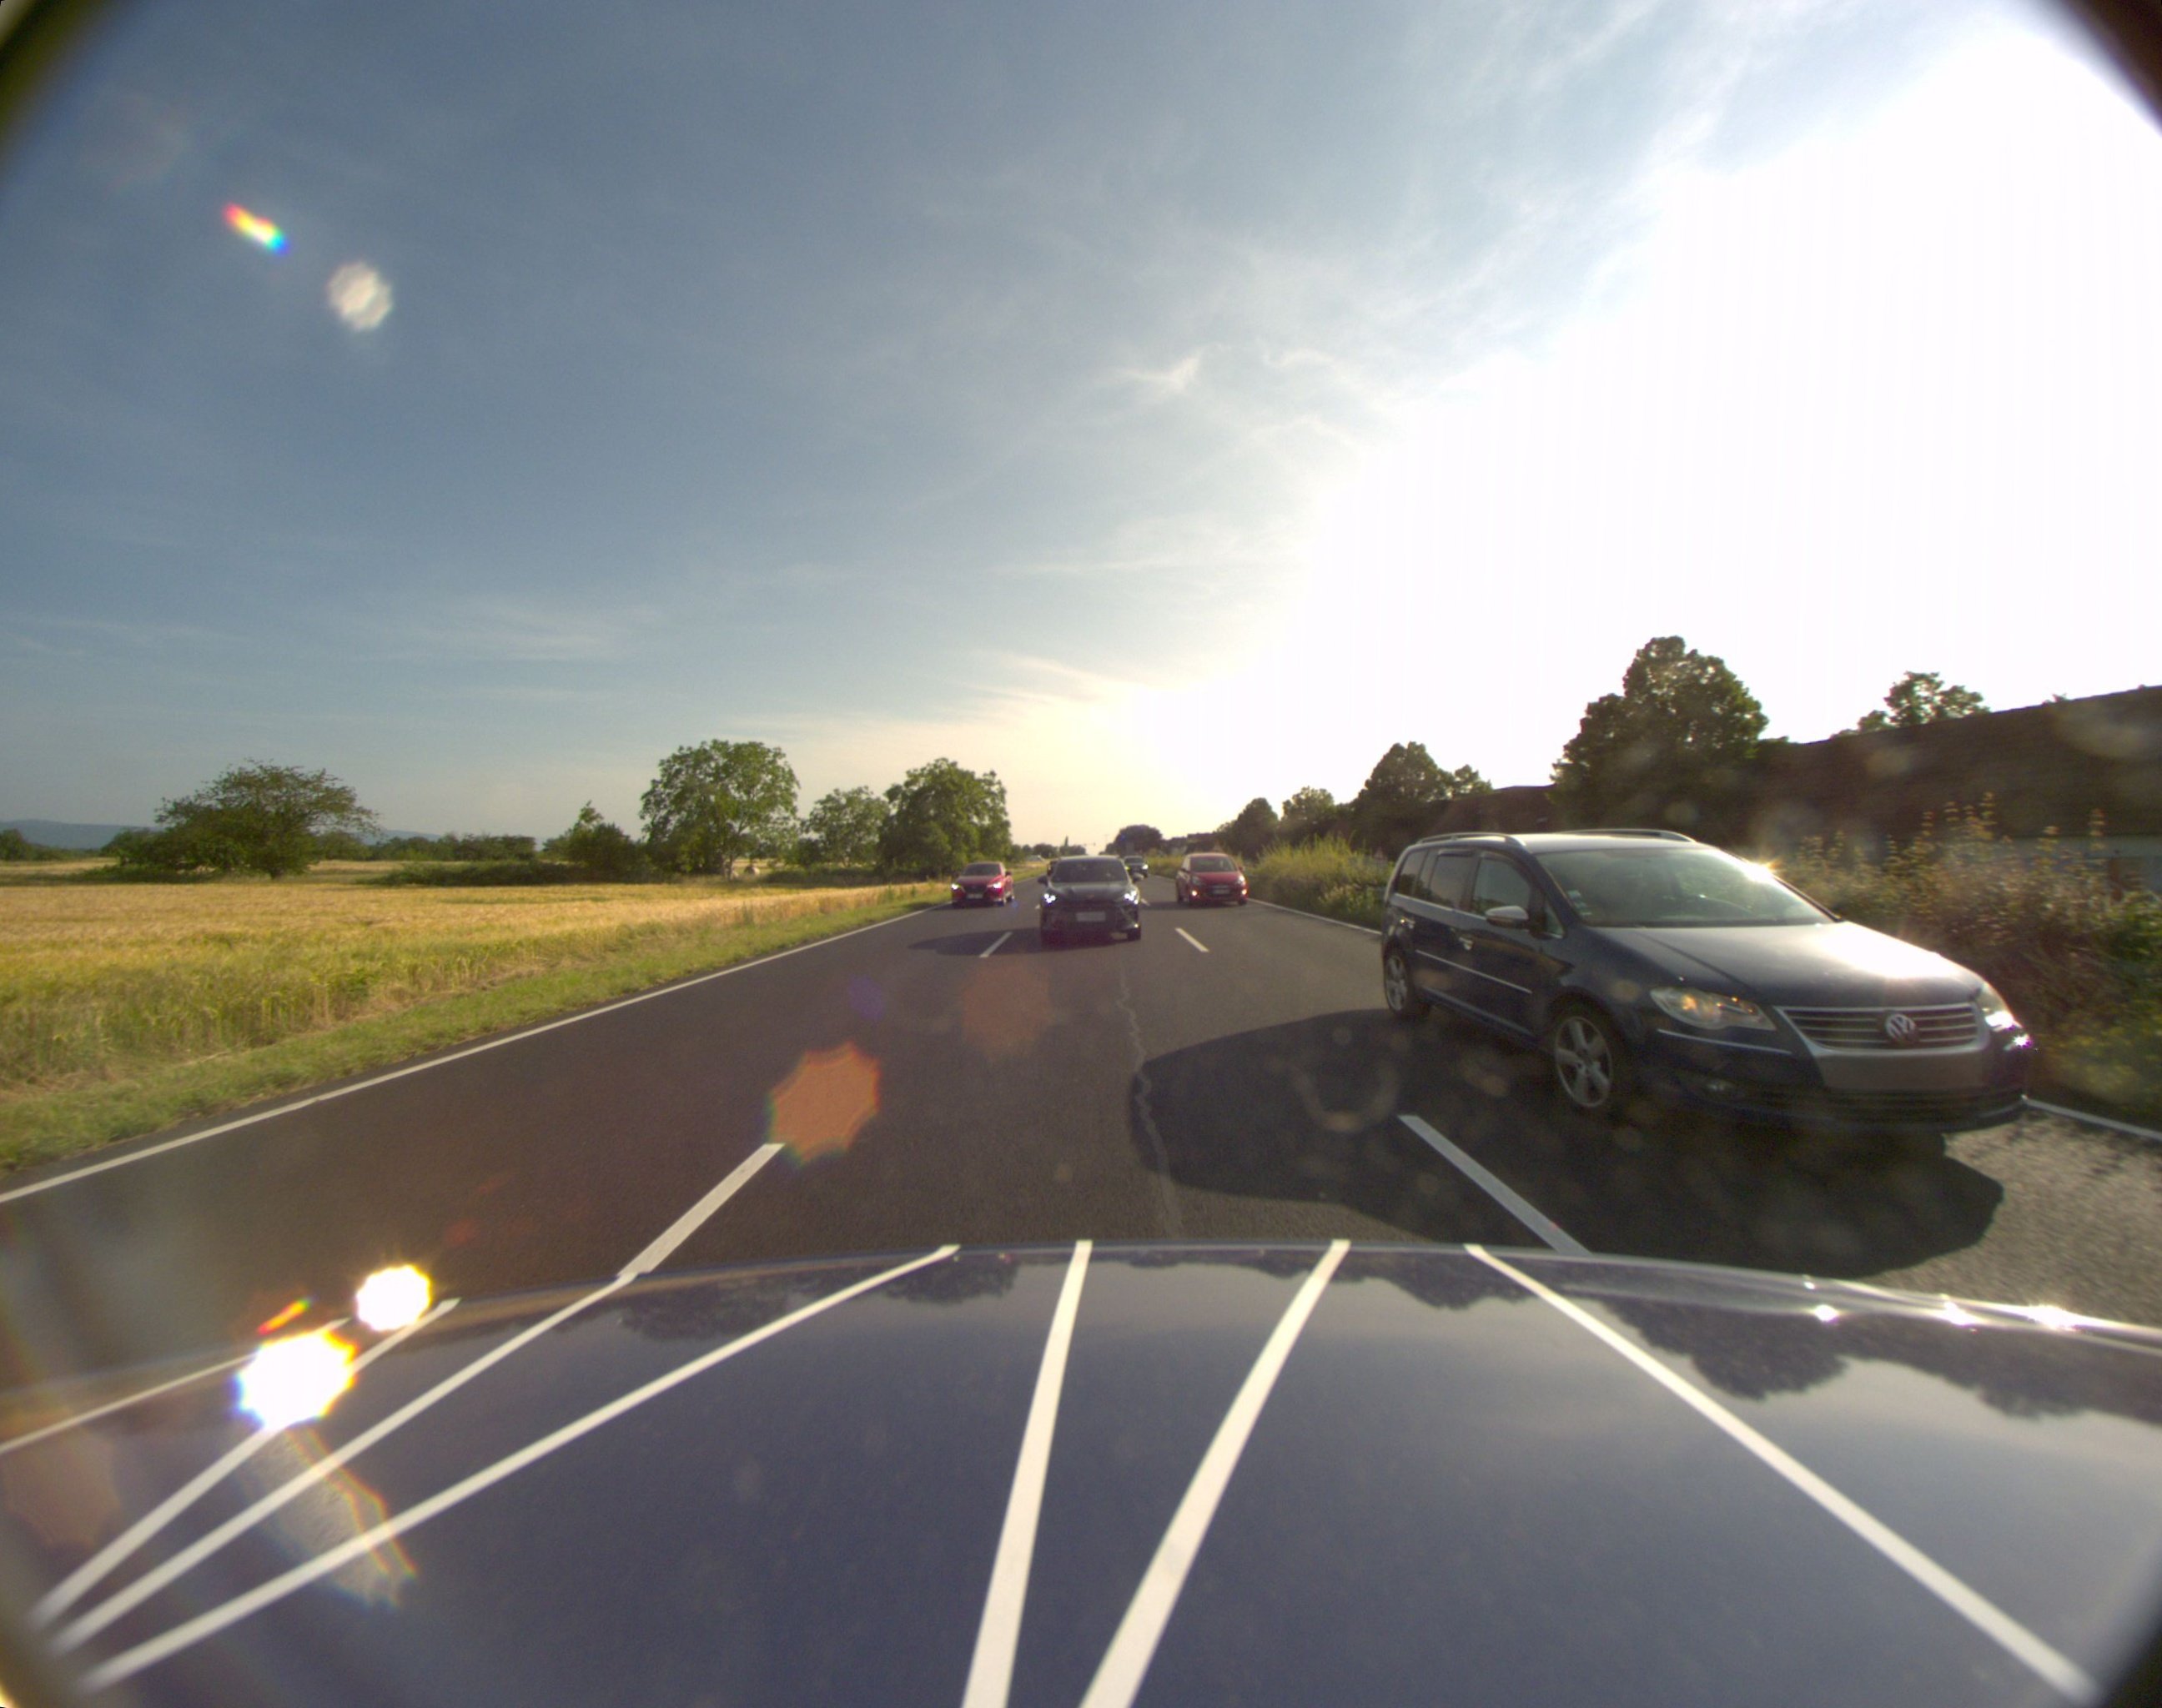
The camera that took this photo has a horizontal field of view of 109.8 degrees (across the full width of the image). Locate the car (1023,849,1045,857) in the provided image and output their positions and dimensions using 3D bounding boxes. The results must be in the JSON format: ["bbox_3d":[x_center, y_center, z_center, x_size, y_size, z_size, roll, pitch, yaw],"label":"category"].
[{"bbox_3d":[-15.905,-0.409,257.437,7.202,2.654,2.094,0,1,15],"label":"car"}]

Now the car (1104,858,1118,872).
[{"bbox_3d":[4.478,1.607,112.864,1.918,1.871,4.000,-2,1,1],"label":"car"}]

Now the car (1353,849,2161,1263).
[{"bbox_3d":[3.603,0.804,5.377,1.777,1.612,4.681,-1,1,1],"label":"car"}]

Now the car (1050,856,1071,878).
[{"bbox_3d":[-2.060,1.291,76.558,1.999,2.002,3.999,-2,1,-2],"label":"car"}]

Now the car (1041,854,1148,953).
[{"bbox_3d":[0.284,0.855,15.298,1.791,1.594,4.339,-2,1,1],"label":"car"}]

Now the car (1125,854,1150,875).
[{"bbox_3d":[4.439,0.802,60.107,1.719,1.521,4.000,-2,1,1],"label":"car"}]

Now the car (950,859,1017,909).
[{"bbox_3d":[-3.336,0.994,26.879,1.708,1.497,4.500,-2,1,0],"label":"car"}]

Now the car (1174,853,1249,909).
[{"bbox_3d":[4.076,0.800,24.246,1.748,1.537,4.000,-2,1,1],"label":"car"}]

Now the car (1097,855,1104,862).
[{"bbox_3d":[6.119,1.300,239.384,1.998,2.002,4.000,-2,1,1],"label":"car"}]
